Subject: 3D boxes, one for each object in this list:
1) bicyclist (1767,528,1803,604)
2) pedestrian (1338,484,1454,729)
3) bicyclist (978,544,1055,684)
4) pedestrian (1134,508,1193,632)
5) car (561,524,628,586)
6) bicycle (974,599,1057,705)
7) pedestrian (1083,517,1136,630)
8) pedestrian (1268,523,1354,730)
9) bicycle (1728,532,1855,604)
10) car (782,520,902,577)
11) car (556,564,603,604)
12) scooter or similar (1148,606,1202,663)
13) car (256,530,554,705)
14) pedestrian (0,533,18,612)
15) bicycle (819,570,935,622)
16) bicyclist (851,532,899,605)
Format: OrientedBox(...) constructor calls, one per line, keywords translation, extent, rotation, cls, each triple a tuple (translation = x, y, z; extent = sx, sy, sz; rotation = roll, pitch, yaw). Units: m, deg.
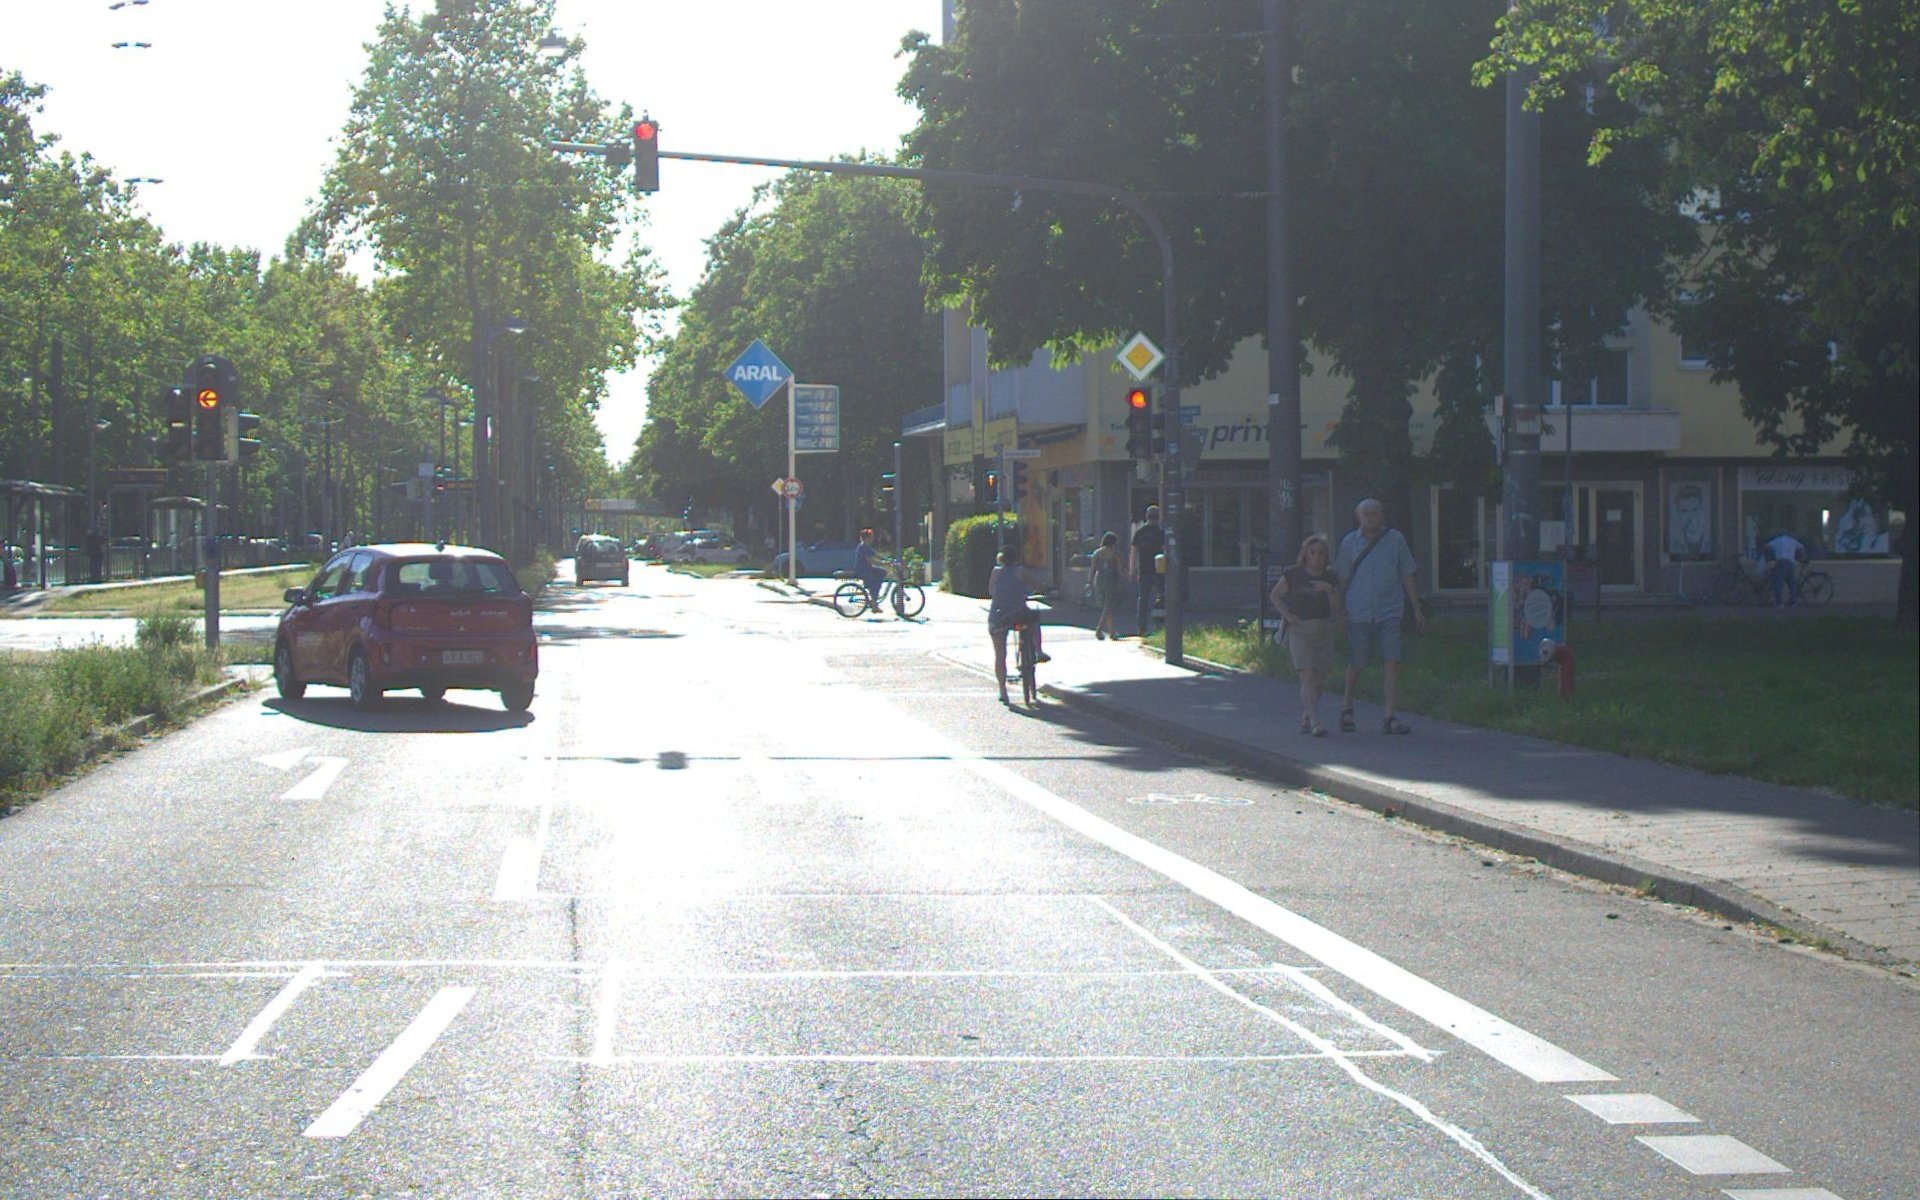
OrientedBox(translation=(17.119, -0.710, 71.332), extent=(0.527, 1.562, 0.464), rotation=(2, 0, -8), cls="bicyclist")
OrientedBox(translation=(3.260, 0.036, 25.760), extent=(0.703, 1.783, 0.694), rotation=(-3, 2, 0), cls="pedestrian")
OrientedBox(translation=(0.542, 0.131, 33.500), extent=(0.638, 1.318, 0.803), rotation=(2, 0, -4), cls="bicyclist")
OrientedBox(translation=(2.797, -0.411, 47.208), extent=(0.730, 1.676, 0.532), rotation=(2, 0, 7), cls="pedestrian")
OrientedBox(translation=(-11.655, -1.422, 109.411), extent=(1.968, 1.853, 4.001), rotation=(2, 0, -8), cls="car")
OrientedBox(translation=(0.531, 0.488, 33.398), extent=(0.648, 0.969, 1.804), rotation=(2, 0, -3), cls="bicycle")
OrientedBox(translation=(2.057, -0.359, 47.245), extent=(0.647, 1.517, 0.496), rotation=(2, 0, 6), cls="pedestrian")
OrientedBox(translation=(2.638, 0.197, 25.876), extent=(0.529, 1.523, 0.627), rotation=(-2, 0, 0), cls="pedestrian")
OrientedBox(translation=(17.391, -0.672, 71.911), extent=(2.469, 1.394, 0.608), rotation=(2, 0, -7), cls="bicycle")
OrientedBox(translation=(-4.198, -1.826, 122.379), extent=(3.988, 1.853, 2.011), rotation=(2, 0, 5), cls="car")
OrientedBox(translation=(-16.468, -0.696, 148.559), extent=(1.893, 1.605, 4.501), rotation=(2, 0, -7), cls="car")
OrientedBox(translation=(2.913, 0.470, 46.613), extent=(0.597, 0.735, 0.681), rotation=(2, 0, -7), cls="scooter or similar")
OrientedBox(translation=(-5.191, 0.129, 31.813), extent=(1.694, 1.503, 3.700), rotation=(1, 0, -26), cls="car")
OrientedBox(translation=(-20.000, -0.579, 71.051), extent=(0.890, 1.601, 0.613), rotation=(2, 0, -6), cls="pedestrian")
OrientedBox(translation=(-1.696, -0.085, 70.391), extent=(2.252, 0.984, 0.788), rotation=(1, 5, 10), cls="bicycle")
OrientedBox(translation=(-1.734, -0.653, 70.385), extent=(0.769, 1.466, 0.897), rotation=(-1, 1, 11), cls="bicyclist")
